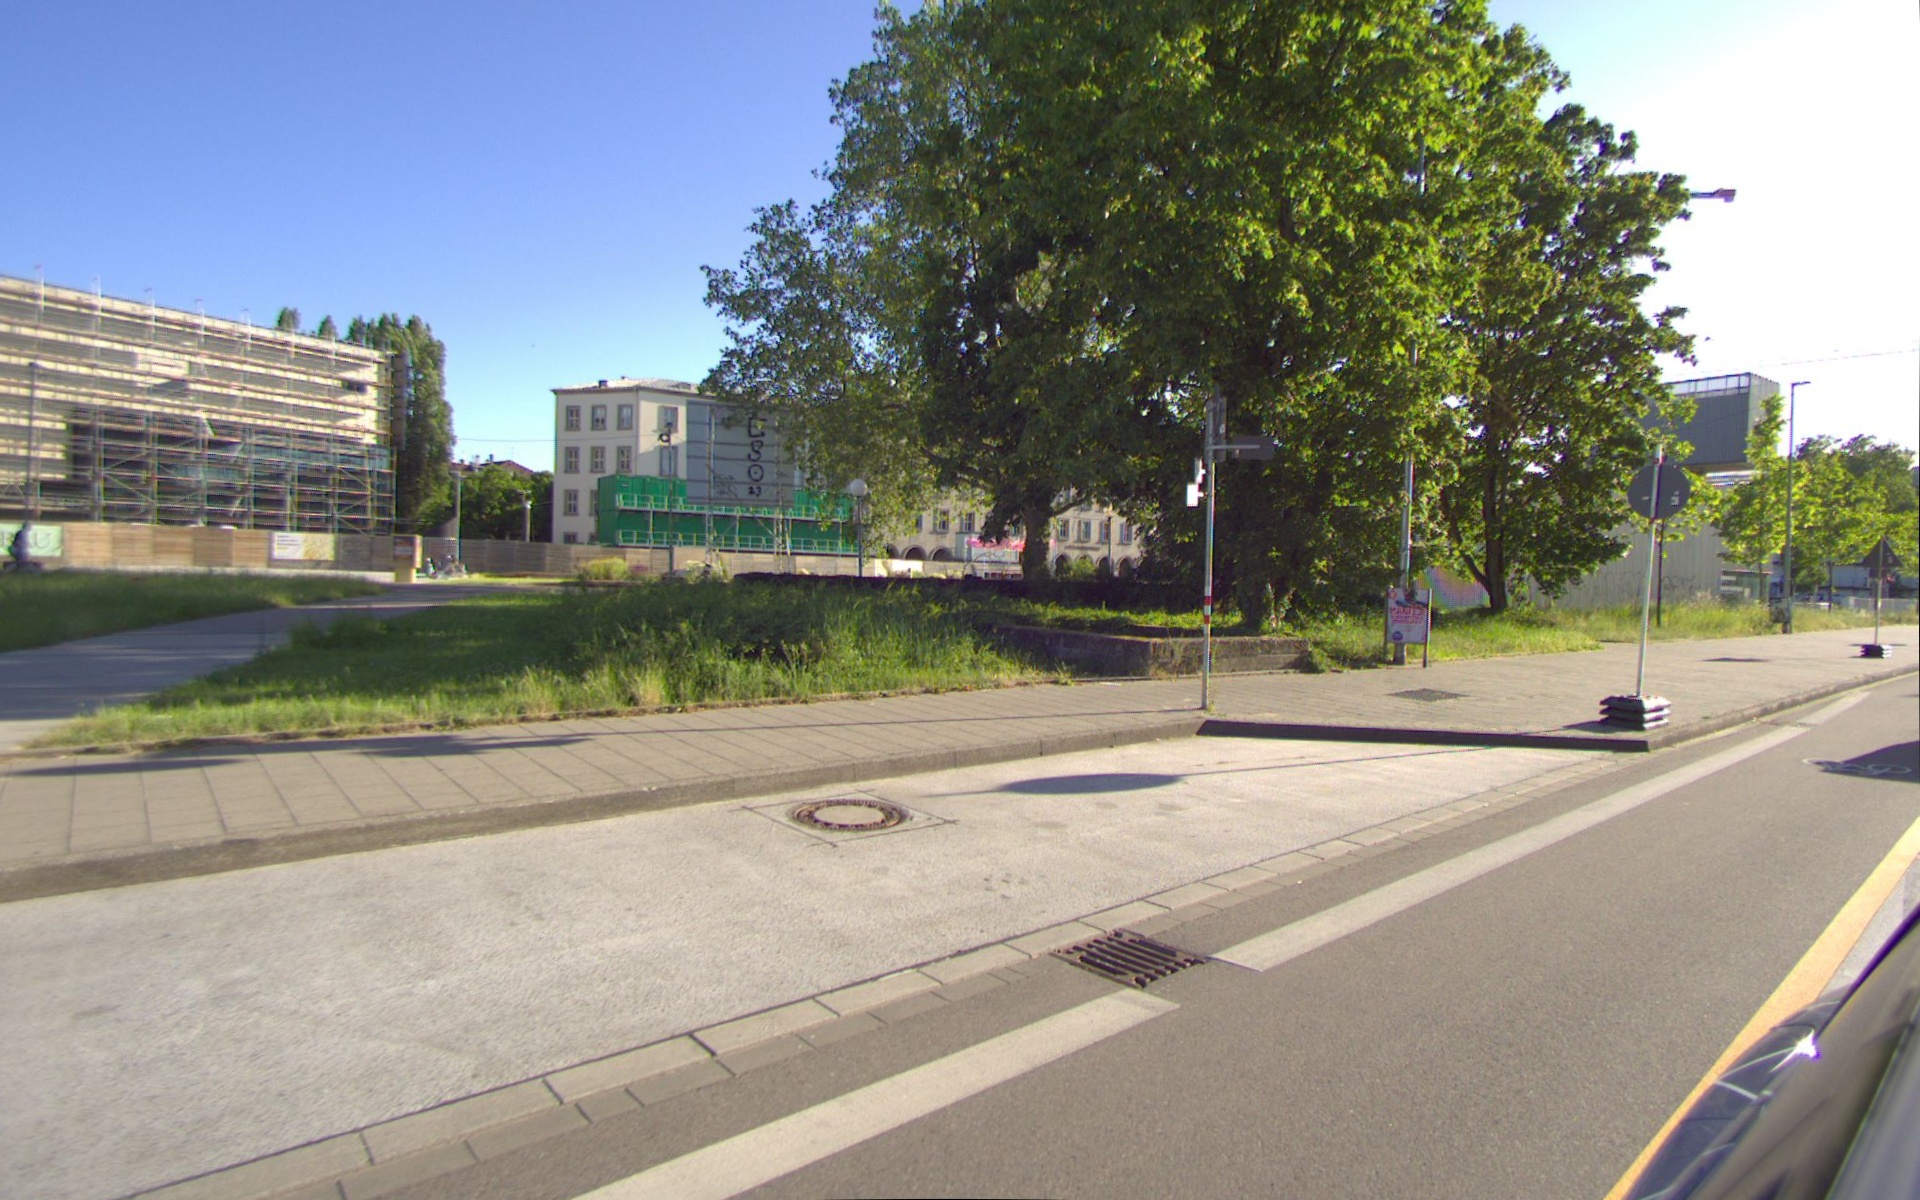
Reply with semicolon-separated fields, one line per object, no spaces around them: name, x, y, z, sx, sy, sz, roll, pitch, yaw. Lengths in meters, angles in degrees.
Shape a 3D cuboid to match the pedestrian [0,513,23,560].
pedestrian;-27.851;-1.849;29.597;0.567;1.312;0.437;-2;0;25
